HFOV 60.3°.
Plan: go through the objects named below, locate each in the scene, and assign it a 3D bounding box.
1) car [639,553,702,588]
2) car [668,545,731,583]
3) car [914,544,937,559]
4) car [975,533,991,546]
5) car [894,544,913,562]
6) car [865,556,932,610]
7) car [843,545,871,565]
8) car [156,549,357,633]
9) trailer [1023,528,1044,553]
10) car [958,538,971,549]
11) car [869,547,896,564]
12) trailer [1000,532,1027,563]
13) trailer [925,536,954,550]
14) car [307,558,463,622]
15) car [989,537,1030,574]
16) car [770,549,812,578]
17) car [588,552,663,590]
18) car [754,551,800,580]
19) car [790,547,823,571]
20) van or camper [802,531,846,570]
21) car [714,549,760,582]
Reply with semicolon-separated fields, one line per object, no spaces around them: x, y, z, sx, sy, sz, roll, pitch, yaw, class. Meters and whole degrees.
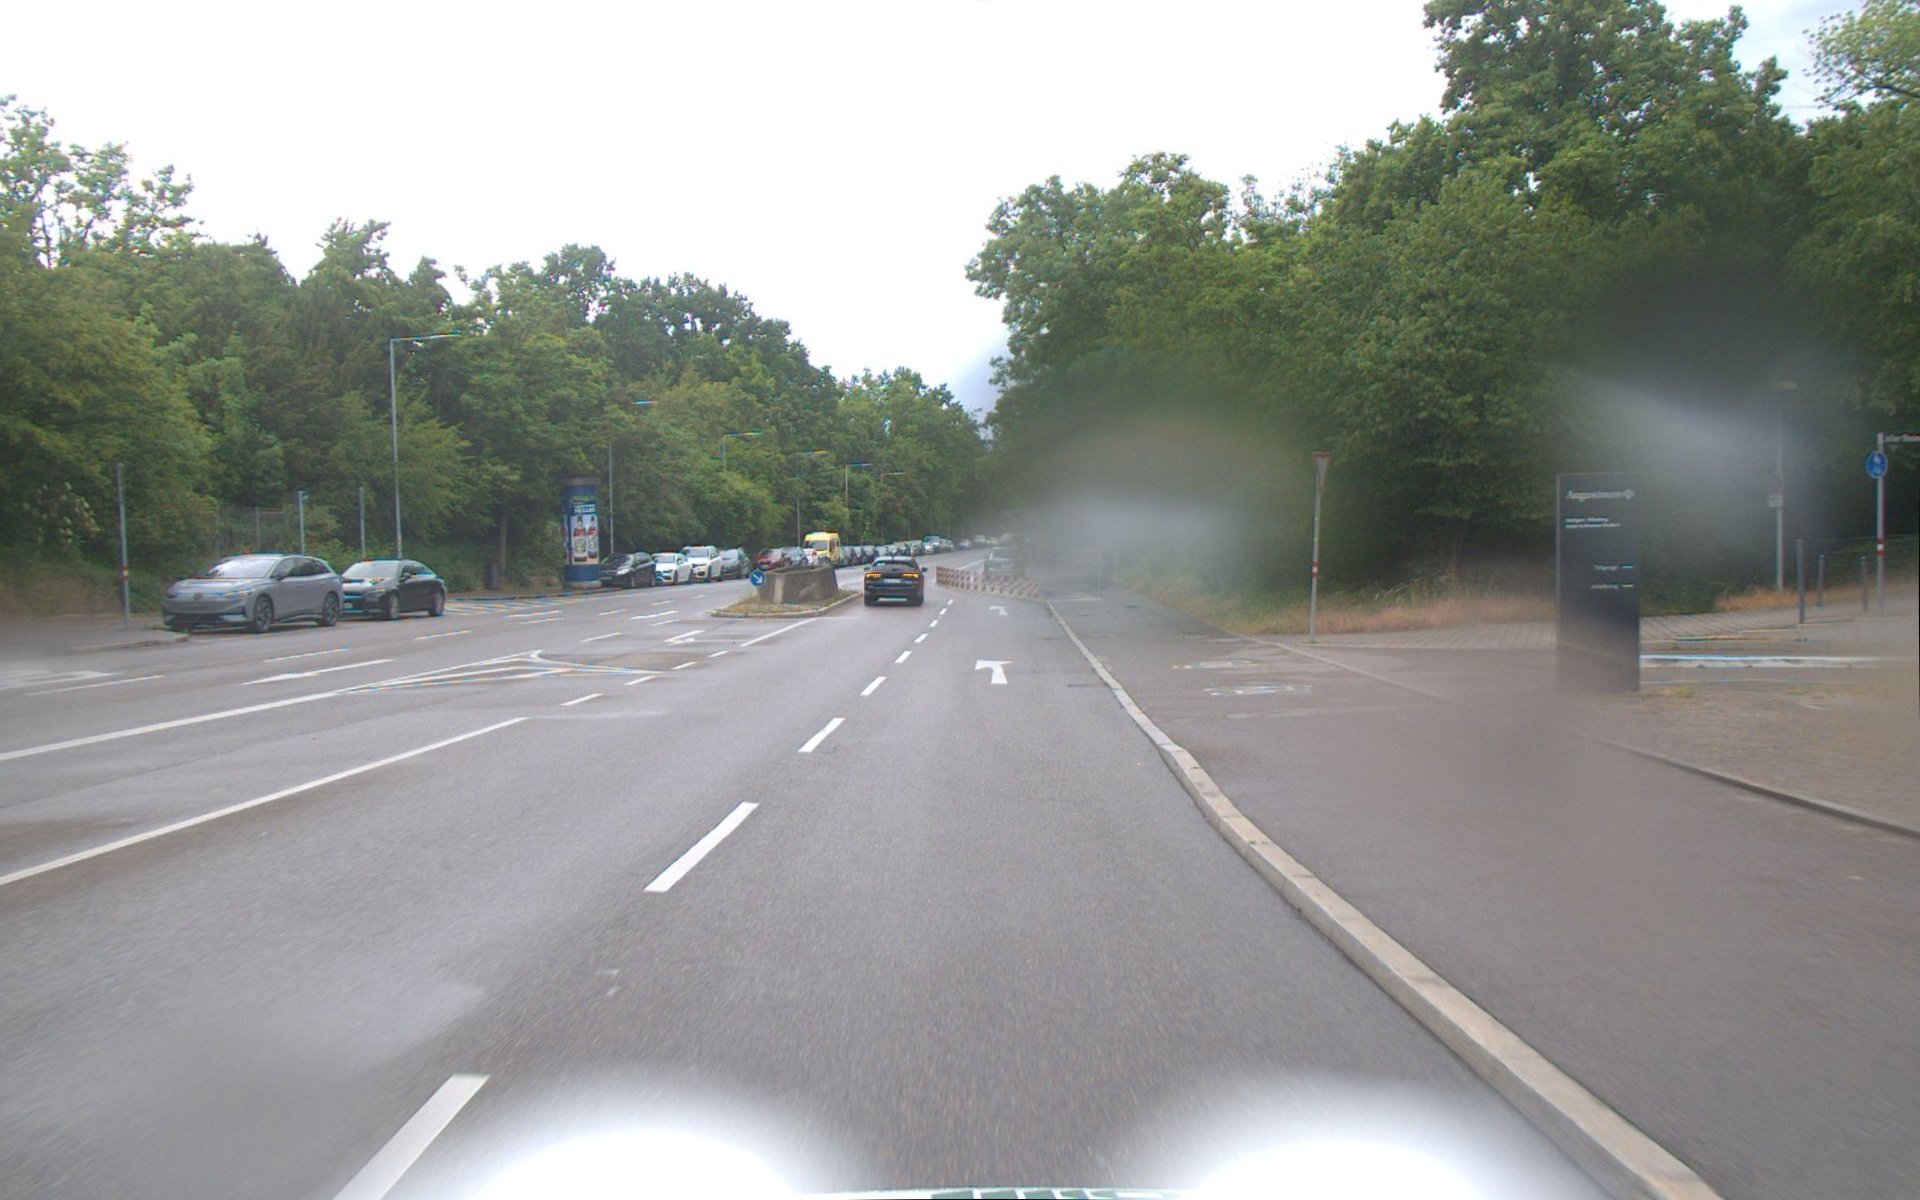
-13.142;-1.381;75.425;1.682;1.485;4.712;-1;2;5;car
-12.728;-1.805;81.072;1.951;1.796;4.964;-1;2;4;car
-3.764;-5.262;179.997;1.951;1.514;4.472;-1;2;5;car
3.687;-9.597;261.489;2.113;2.048;5.035;-1;2;6;car
-5.207;-4.382;153.201;1.430;1.598;2.986;-1;2;4;car
-1.932;-0.558;50.678;1.844;1.491;3.997;1;2;-5;car
-8.293;-3.672;133.471;1.568;1.536;3.980;-1;2;6;car
-14.486;-0.232;34.404;1.802;1.617;4.931;0;1;4;car
7.680;-6.211;172.418;2.087;2.604;4.300;-1;2;3;trailer
0.686;-8.085;236.362;1.637;1.540;3.633;0;3;4;car
-6.691;-3.869;143.021;1.830;1.326;4.474;-1;2;4;car
4.102;-4.006;125.998;1.866;2.286;4.772;-1;2;4;trailer
-2.379;-6.760;196.119;1.598;1.657;3.660;0;3;35;trailer
-13.849;-0.280;40.176;1.866;1.439;4.786;0;1;4;car
2.272;-2.099;77.223;1.785;1.643;4.252;0;2;0;car
-10.798;-2.328;105.700;1.952;1.729;4.618;-1;2;3;car
-13.923;-1.227;69.088;1.712;1.470;4.591;0;2;7;car
-11.094;-2.122;100.360;1.878;1.645;4.493;-2;2;5;car
-10.296;-2.769;111.106;1.583;1.473;3.660;-2;2;5;car
-9.626;-3.566;117.311;2.098;2.672;5.687;-1;2;5;van or camper
-11.887;-1.885;88.493;1.695;1.677;4.573;0;2;1;car
